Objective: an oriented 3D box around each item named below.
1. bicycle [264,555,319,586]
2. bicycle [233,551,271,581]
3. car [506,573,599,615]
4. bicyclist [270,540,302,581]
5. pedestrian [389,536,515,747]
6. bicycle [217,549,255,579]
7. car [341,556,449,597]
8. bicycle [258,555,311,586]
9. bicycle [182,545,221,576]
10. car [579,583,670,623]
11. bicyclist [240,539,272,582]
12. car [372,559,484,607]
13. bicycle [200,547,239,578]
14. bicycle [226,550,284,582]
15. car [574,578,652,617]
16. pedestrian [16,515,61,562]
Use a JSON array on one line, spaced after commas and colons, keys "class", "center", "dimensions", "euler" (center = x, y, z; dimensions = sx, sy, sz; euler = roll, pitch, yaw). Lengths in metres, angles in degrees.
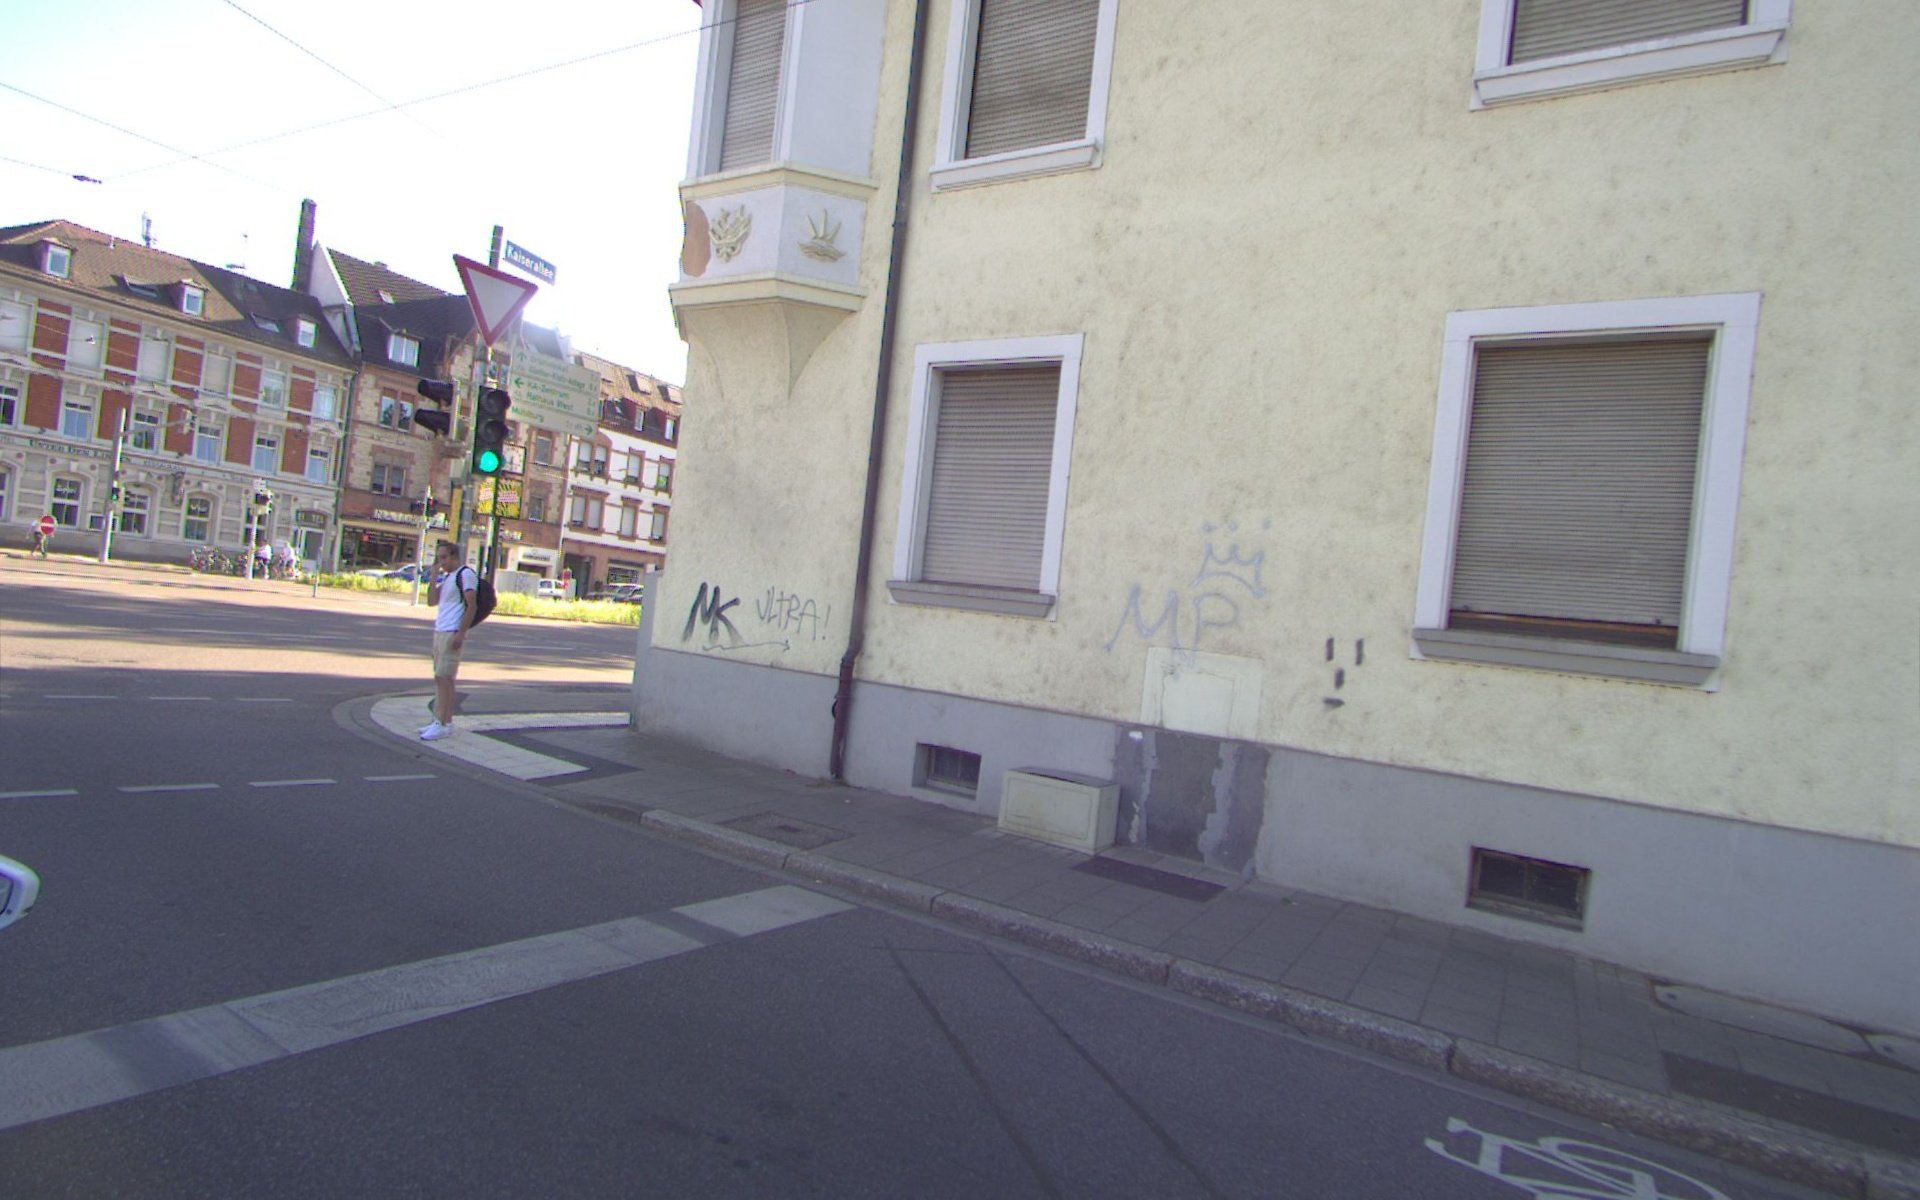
[{"class": "bicycle", "center": [-31.042, -1.360, 46.758], "dimensions": [0.591, 1.205, 1.964], "euler": [6, -1, 31]}, {"class": "bicycle", "center": [-32.793, -1.590, 46.607], "dimensions": [1.935, 1.205, 0.678], "euler": [6, 0, 33]}, {"class": "car", "center": [-20.859, -0.291, 51.634], "dimensions": [1.922, 1.687, 3.993], "euler": [6, -1, 31]}, {"class": "bicyclist", "center": [-31.142, -1.826, 46.503], "dimensions": [0.591, 1.785, 0.904], "euler": [6, 0, 31]}, {"class": "pedestrian", "center": [-4.500, 0.351, 8.949], "dimensions": [0.661, 1.763, 0.689], "euler": [4, 2, 4]}, {"class": "bicycle", "center": [-33.150, -1.643, 46.034], "dimensions": [1.935, 1.205, 0.678], "euler": [6, 0, 33]}, {"class": "car", "center": [-26.770, -1.085, 47.764], "dimensions": [1.815, 1.429, 3.993], "euler": [6, -1, 31]}, {"class": "bicycle", "center": [-31.826, -1.384, 47.459], "dimensions": [0.667, 1.205, 1.968], "euler": [6, -1, 20]}, {"class": "bicycle", "center": [-33.829, -1.765, 44.865], "dimensions": [1.935, 1.205, 0.678], "euler": [6, 0, 33]}, {"class": "car", "center": [-18.491, 0.191, 55.646], "dimensions": [1.922, 1.687, 4.479], "euler": [6, -1, 31]}, {"class": "bicyclist", "center": [-31.319, -1.768, 44.737], "dimensions": [0.592, 1.785, 0.873], "euler": [6, 0, 34]}, {"class": "car", "center": [-24.339, -0.760, 46.128], "dimensions": [1.922, 1.687, 3.993], "euler": [6, -1, 31]}, {"class": "bicycle", "center": [-33.485, -1.712, 45.478], "dimensions": [1.935, 1.205, 0.678], "euler": [6, 0, 33]}, {"class": "bicycle", "center": [-31.337, -1.503, 44.751], "dimensions": [0.592, 1.205, 1.962], "euler": [6, -1, 34]}, {"class": "car", "center": [-22.193, -0.151, 64.485], "dimensions": [1.922, 1.988, 4.411], "euler": [6, -1, 31]}, {"class": "pedestrian", "center": [-35.623, -2.371, 38.895], "dimensions": [0.922, 1.690, 0.718], "euler": [6, 0, 1]}]
